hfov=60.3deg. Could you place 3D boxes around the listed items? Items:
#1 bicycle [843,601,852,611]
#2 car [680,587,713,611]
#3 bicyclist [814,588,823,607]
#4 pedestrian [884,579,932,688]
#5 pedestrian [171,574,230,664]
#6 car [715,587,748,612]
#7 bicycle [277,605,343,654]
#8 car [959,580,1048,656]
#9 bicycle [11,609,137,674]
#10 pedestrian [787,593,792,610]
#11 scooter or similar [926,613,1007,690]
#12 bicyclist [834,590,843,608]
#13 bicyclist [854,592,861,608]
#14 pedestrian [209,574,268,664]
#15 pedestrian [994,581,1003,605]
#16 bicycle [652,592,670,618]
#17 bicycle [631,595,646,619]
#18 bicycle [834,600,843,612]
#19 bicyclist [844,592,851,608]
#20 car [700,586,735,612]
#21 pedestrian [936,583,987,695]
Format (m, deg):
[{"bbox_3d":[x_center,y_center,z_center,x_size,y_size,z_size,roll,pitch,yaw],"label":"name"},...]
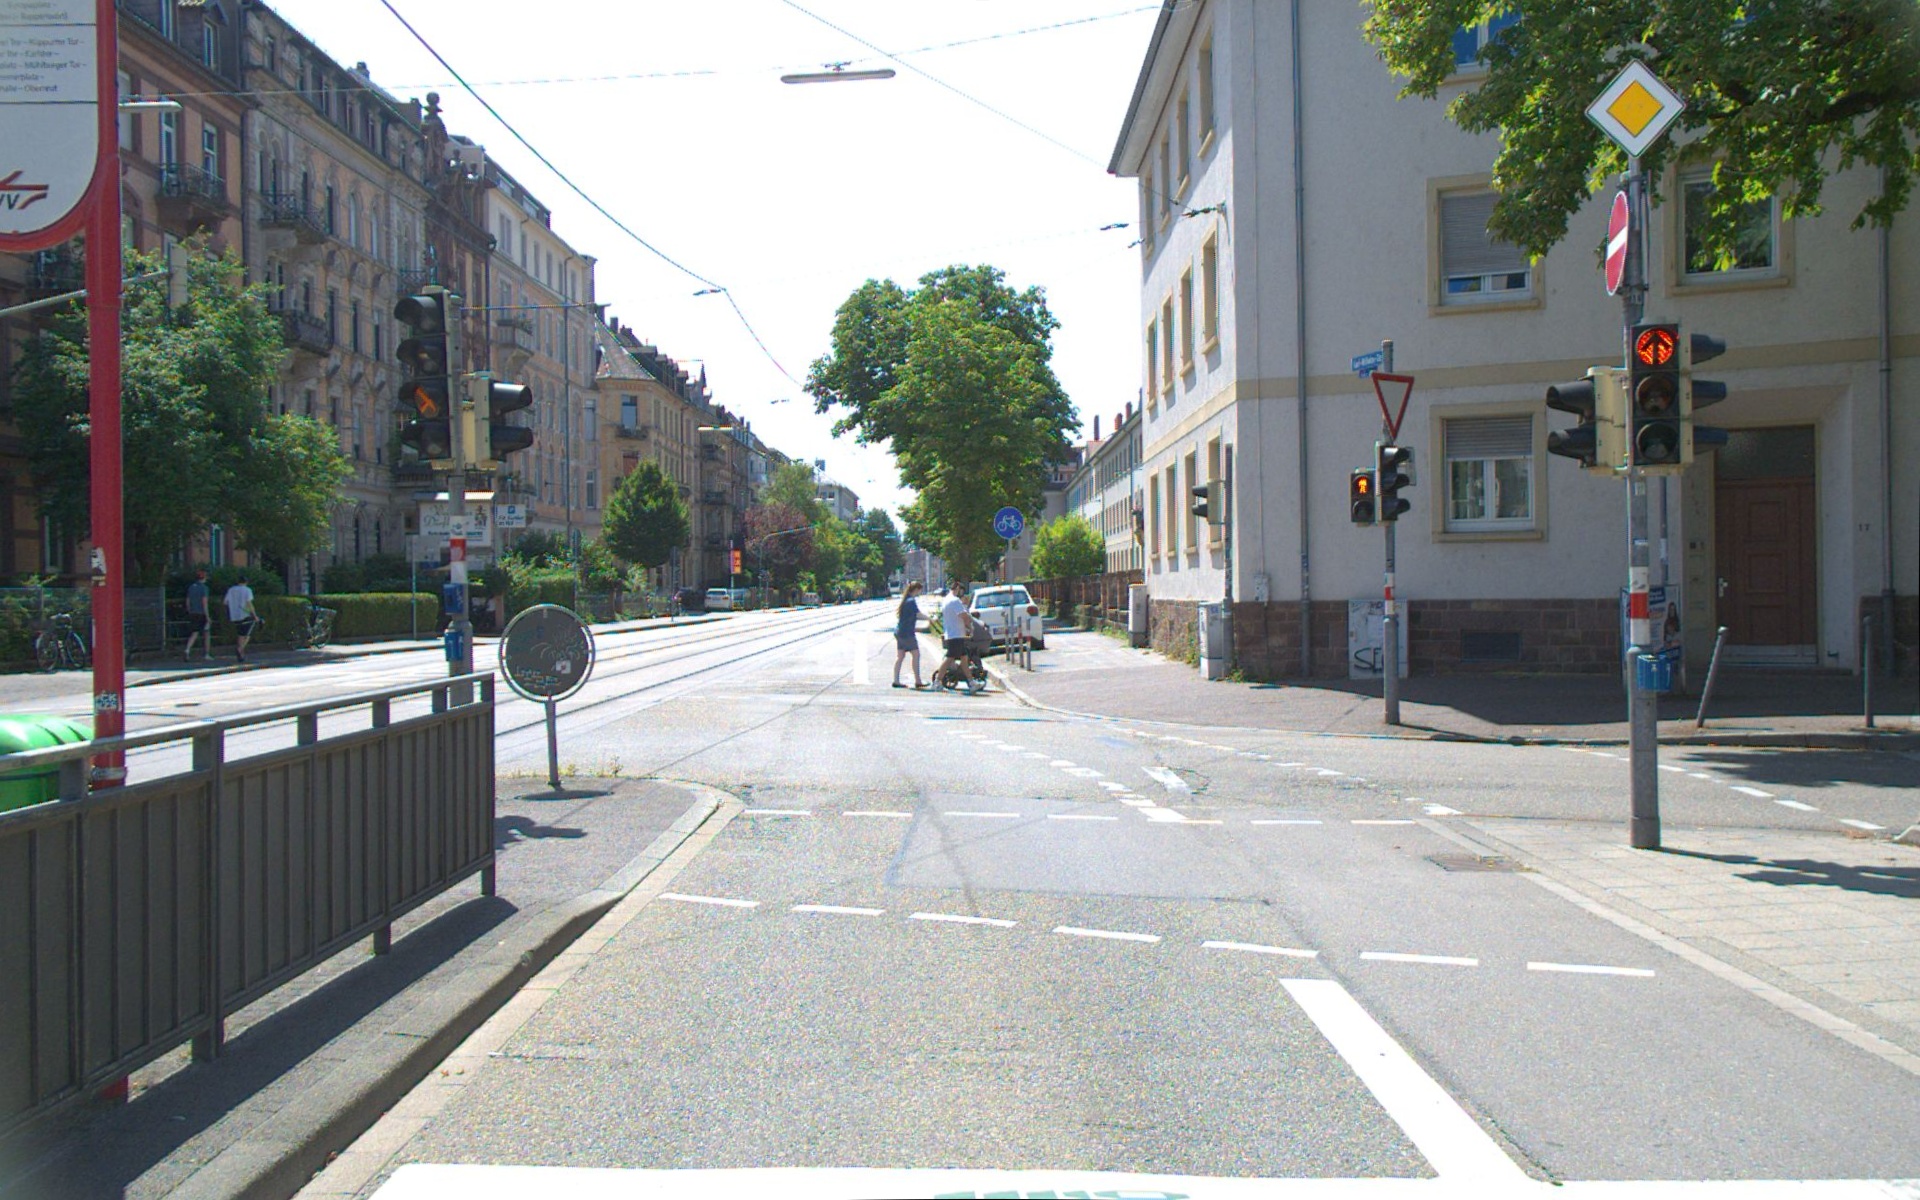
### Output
[{"bbox_3d":[-12.498,0.666,183.849,0.712,1.142,2.085,1,0,1],"label":"bicycle"},{"bbox_3d":[-19.679,-0.073,123.601,1.880,1.745,3.999,1,0,-1],"label":"car"},{"bbox_3d":[-12.170,-0.214,142.221,0.712,1.657,1.079,1,0,1],"label":"bicyclist"},{"bbox_3d":[-0.810,0.516,25.668,0.662,1.674,0.557,1,-1,-9],"label":"pedestrian"},{"bbox_3d":[-15.894,0.384,34.618,0.799,1.854,0.874,1,1,2],"label":"pedestrian"},{"bbox_3d":[-17.047,-0.028,123.568,1.880,1.745,3.999,1,0,-1],"label":"car"},{"bbox_3d":[-15.892,0.699,40.508,0.920,1.156,2.767,1,0,-9],"label":"bicycle"},{"bbox_3d":[0.926,0.397,37.331,1.778,1.542,3.999,-3,0,-1],"label":"car"},{"bbox_3d":[-16.714,0.760,31.298,0.918,1.156,2.773,1,0,-2],"label":"bicycle"},{"bbox_3d":[-14.905,0.094,144.442,0.398,1.486,0.436,-1,0,-1],"label":"pedestrian"},{"bbox_3d":[0.092,0.805,25.872,1.179,1.175,0.557,1,-1,-10],"label":"scooter or similar"},{"bbox_3d":[-12.021,-0.086,163.828,0.712,1.799,1.079,1,0,1],"label":"bicyclist"},{"bbox_3d":[-11.398,0.008,183.646,0.712,1.850,1.079,1,0,1],"label":"bicyclist"},{"bbox_3d":[-15.124,0.392,34.684,0.799,1.854,0.874,1,1,2],"label":"pedestrian"},{"bbox_3d":[2.593,-0.486,111.558,0.511,1.590,0.573,-1,0,-1],"label":"pedestrian"},{"bbox_3d":[-15.279,0.247,84.429,0.664,1.301,1.917,-1,0,-4],"label":"bicycle"},{"bbox_3d":[-15.502,0.333,79.782,0.665,1.083,1.913,-1,0,-12],"label":"bicycle"},{"bbox_3d":[-12.046,0.590,163.795,0.712,1.142,2.085,1,0,1],"label":"bicycle"},{"bbox_3d":[-12.484,-0.008,183.838,0.712,1.850,1.079,1,0,1],"label":"bicyclist"},{"bbox_3d":[-16.879,-0.059,115.306,1.880,1.745,3.999,1,0,-1],"label":"car"},{"bbox_3d":[0.016,0.585,25.057,0.662,1.674,0.557,1,-1,-9],"label":"pedestrian"}]
